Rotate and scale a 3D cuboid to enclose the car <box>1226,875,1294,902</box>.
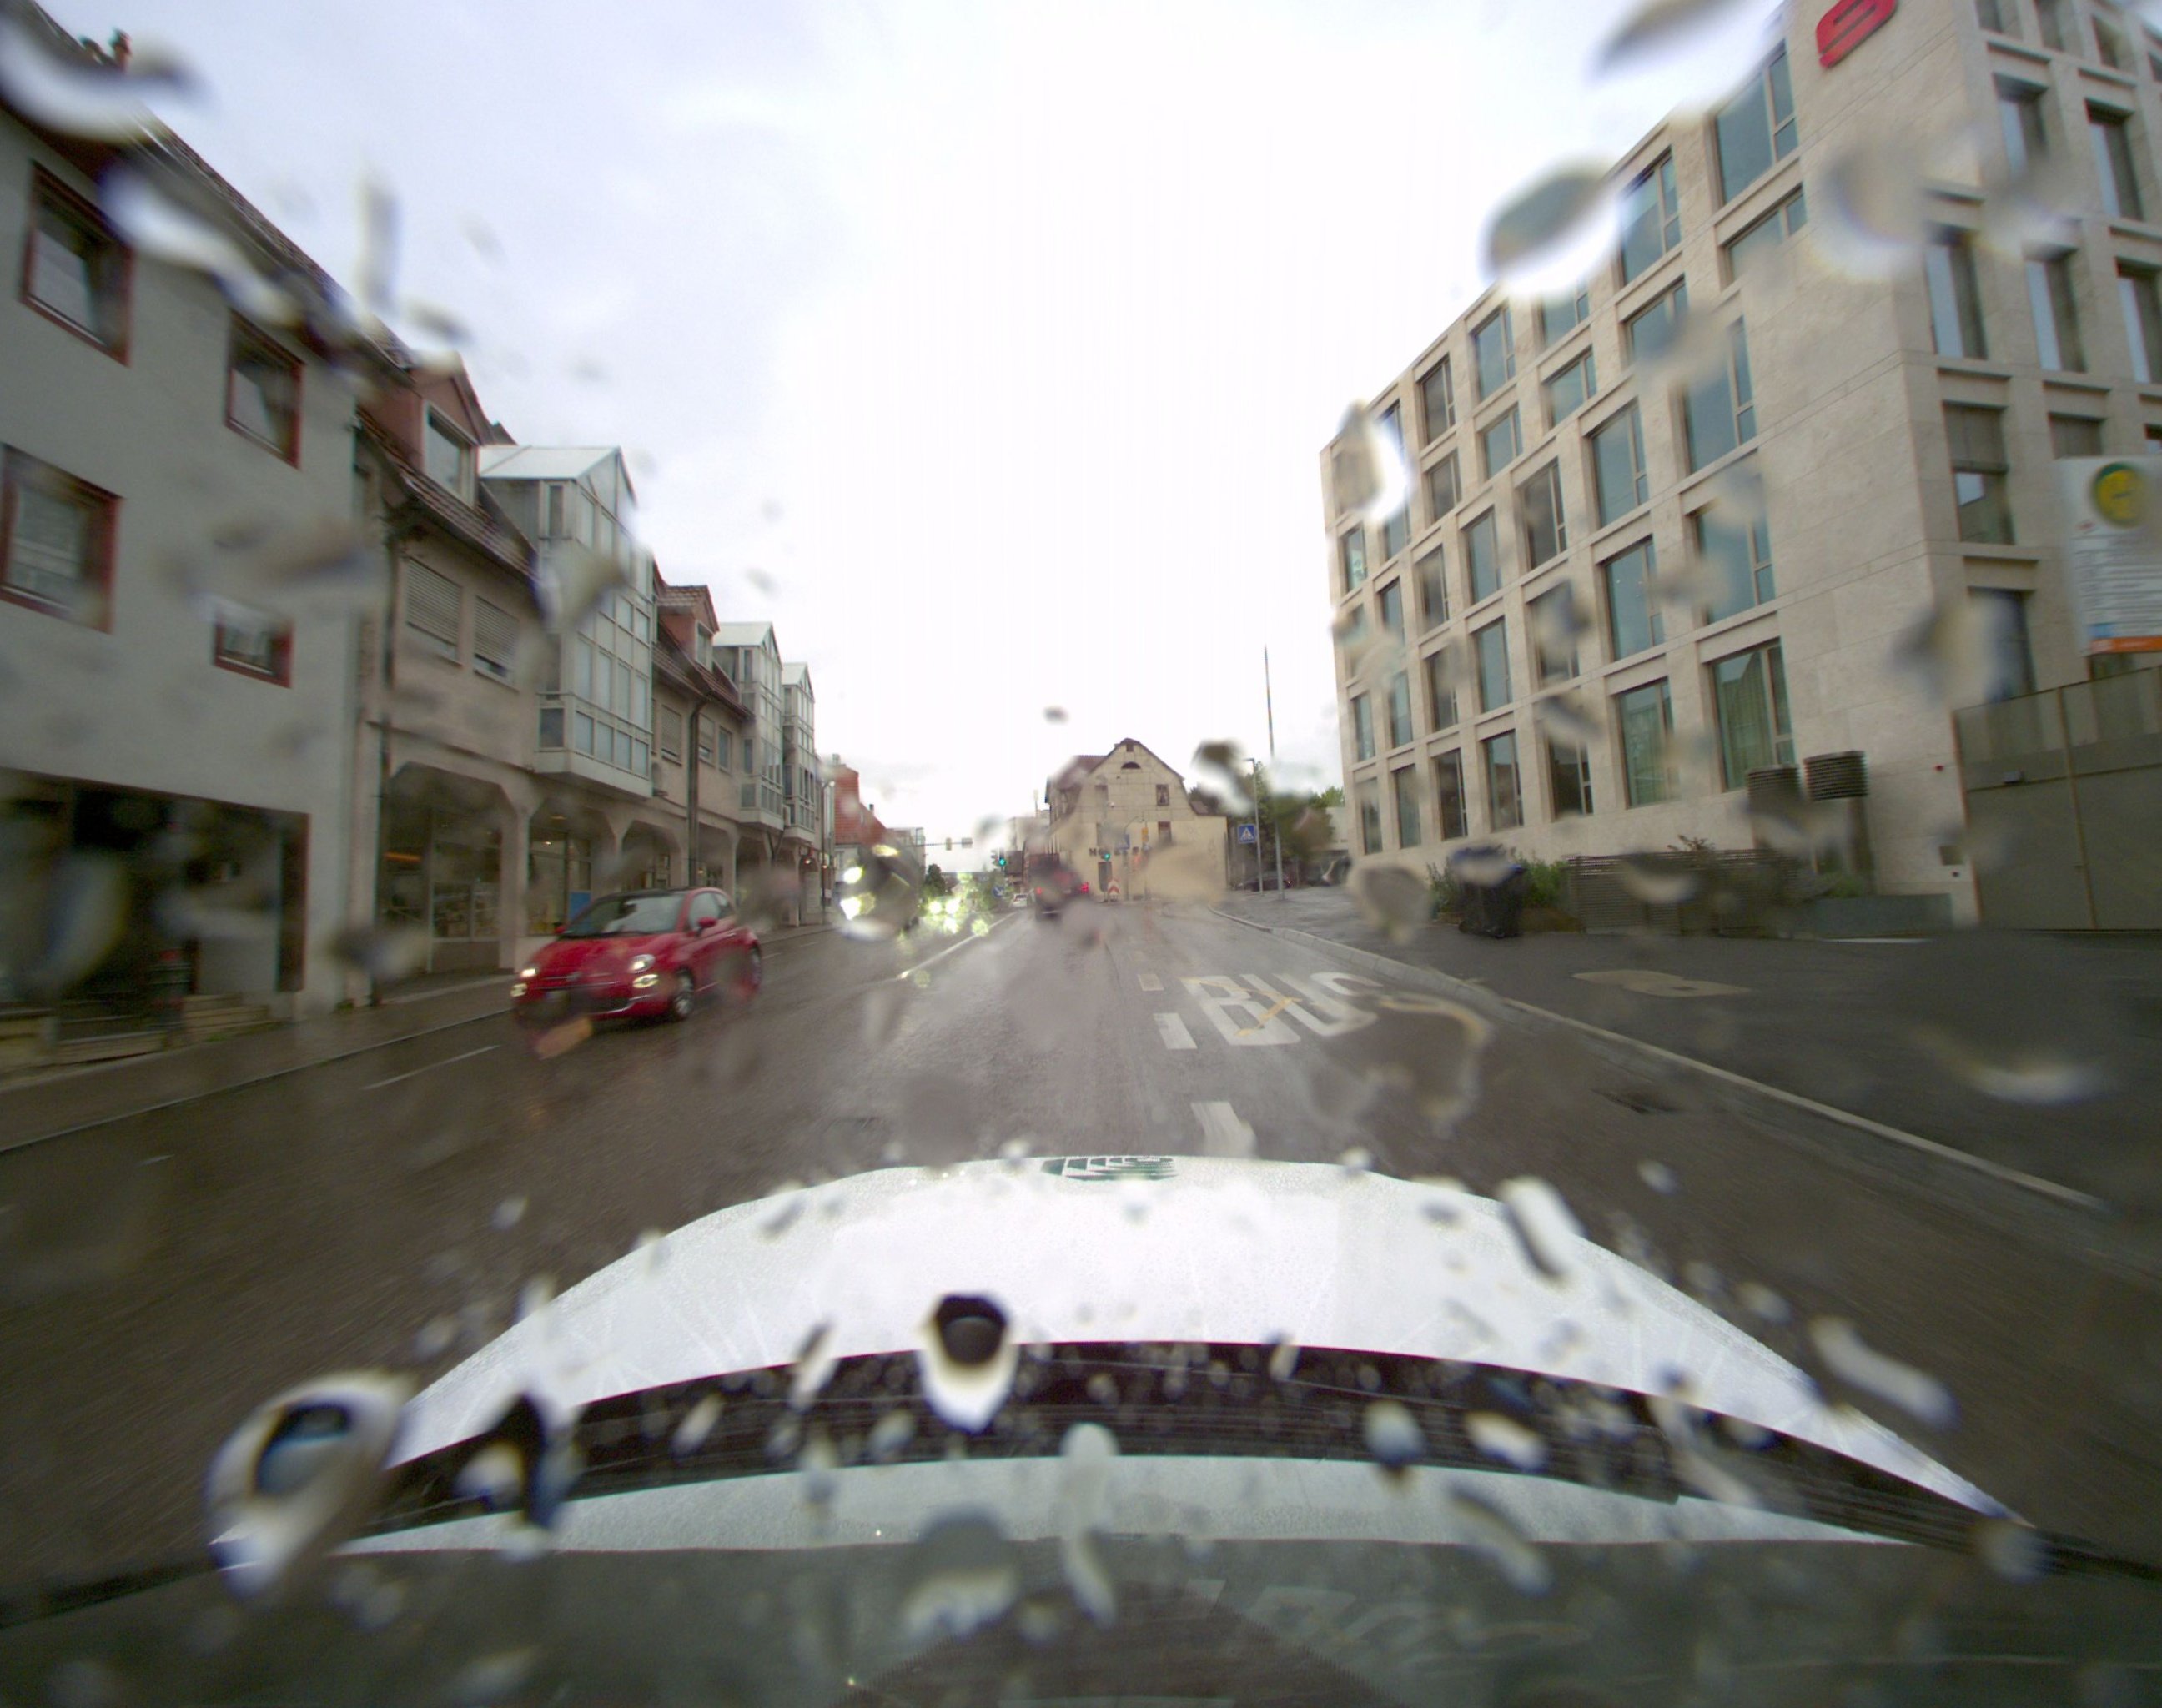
[{"bbox_3d":[12.837,2.485,58.398,4.308,1.505,1.769,-4,-6,-14],"label":"car"}]

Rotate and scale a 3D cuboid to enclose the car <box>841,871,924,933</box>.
[{"bbox_3d":[-5.994,1.398,25.049,1.779,1.630,4.207,-3,-1,-5],"label":"car"}]

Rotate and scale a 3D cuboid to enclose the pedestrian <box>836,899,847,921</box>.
[{"bbox_3d":[-17.199,4.023,58.473,0.593,1.559,0.631,-4,-3,-15],"label":"pedestrian"}]

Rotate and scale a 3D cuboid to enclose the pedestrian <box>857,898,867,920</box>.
[{"bbox_3d":[-16.052,4.001,59.695,0.593,1.559,0.631,-4,-3,-15],"label":"pedestrian"}]

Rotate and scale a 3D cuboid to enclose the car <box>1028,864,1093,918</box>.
[{"bbox_3d":[-0.656,1.171,27.405,1.938,1.567,4.416,-3,0,0],"label":"car"}]

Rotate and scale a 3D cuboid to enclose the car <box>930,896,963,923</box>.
[{"bbox_3d":[-8.981,3.679,54.632,1.884,1.467,3.991,-4,-1,-6],"label":"car"}]

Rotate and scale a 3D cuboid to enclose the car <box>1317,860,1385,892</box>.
[{"bbox_3d":[19.884,1.624,59.973,4.306,1.816,1.770,-4,-6,-13],"label":"car"}]

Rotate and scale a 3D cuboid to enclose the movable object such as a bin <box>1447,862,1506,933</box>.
[{"bbox_3d":[6.198,0.671,12.794,0.593,1.062,0.579,-3,-1,1],"label":"movable object such as a bin"}]

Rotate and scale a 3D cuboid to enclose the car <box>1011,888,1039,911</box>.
[{"bbox_3d":[-4.208,3.366,60.443,1.884,1.467,3.992,-4,-1,-6],"label":"car"}]

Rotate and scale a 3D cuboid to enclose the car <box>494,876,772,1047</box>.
[{"bbox_3d":[-5.125,1.117,9.873,1.556,1.536,3.443,-4,-1,-4],"label":"car"}]

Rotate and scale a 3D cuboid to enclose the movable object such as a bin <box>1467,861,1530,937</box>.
[{"bbox_3d":[6.174,0.657,12.068,0.593,1.062,0.579,-3,-1,1],"label":"movable object such as a bin"}]
